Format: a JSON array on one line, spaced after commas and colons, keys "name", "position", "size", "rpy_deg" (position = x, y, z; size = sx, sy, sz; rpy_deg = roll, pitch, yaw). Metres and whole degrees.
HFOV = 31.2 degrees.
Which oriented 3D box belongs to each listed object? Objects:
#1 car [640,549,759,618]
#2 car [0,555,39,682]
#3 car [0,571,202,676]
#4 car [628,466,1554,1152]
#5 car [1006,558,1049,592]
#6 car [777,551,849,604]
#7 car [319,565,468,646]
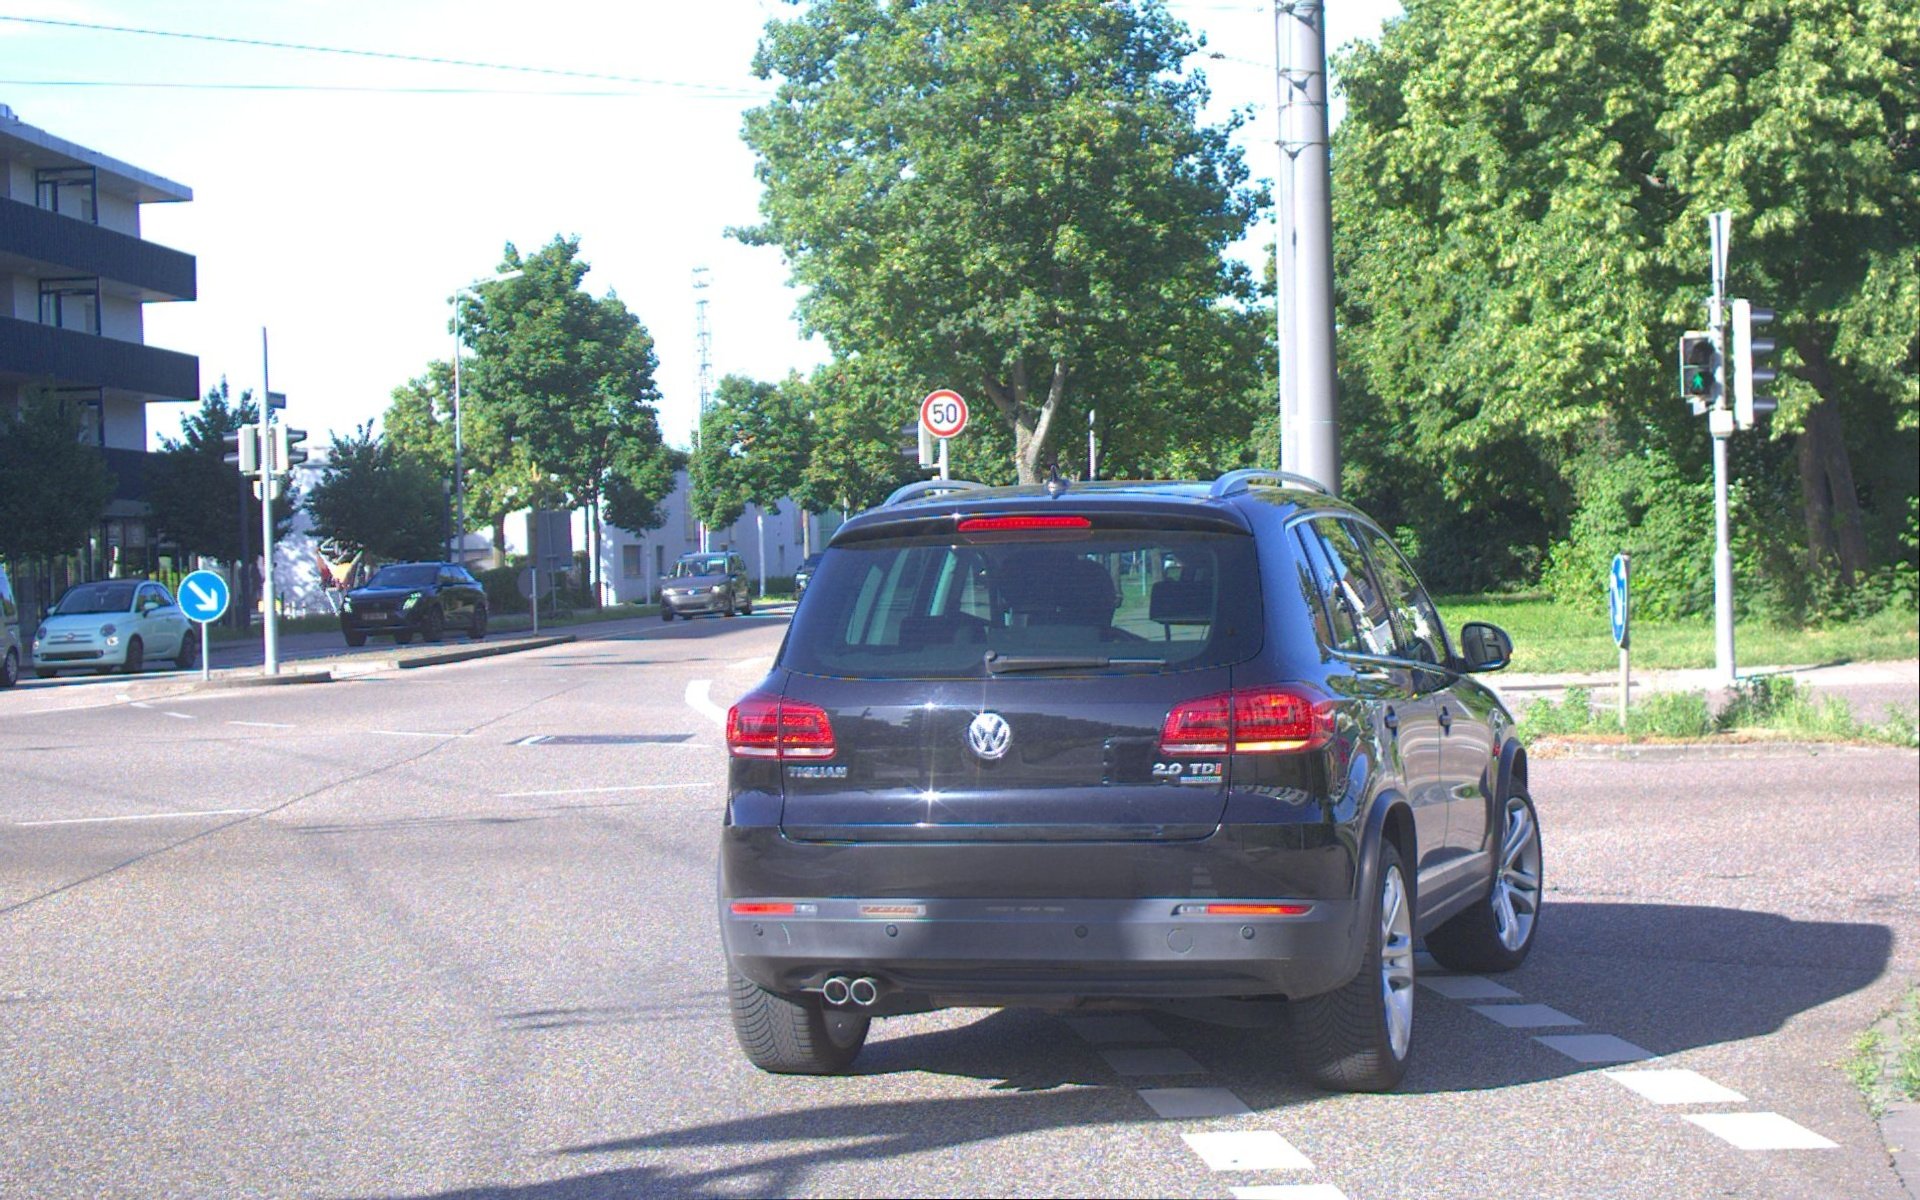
[{"name": "car", "position": [-6.393, -0.421, 84.743], "size": [1.994, 1.566, 3.999], "rpy_deg": [-2, 1, 9]}, {"name": "car", "position": [-14.319, 0.292, 47.223], "size": [1.993, 1.749, 4.362], "rpy_deg": [-2, 1, 2]}, {"name": "car", "position": [-13.814, 0.352, 55.247], "size": [1.994, 1.482, 3.543], "rpy_deg": [-4, 1, 8]}, {"name": "car", "position": [0.668, 0.456, 10.680], "size": [1.930, 1.649, 4.511], "rpy_deg": [0, 1, 15]}, {"name": "car", "position": [3.553, -1.308, 180.485], "size": [1.895, 1.752, 3.999], "rpy_deg": [0, 1, 7]}, {"name": "car", "position": [-5.130, -0.806, 120.611], "size": [1.994, 1.731, 5.199], "rpy_deg": [-2, 1, 3]}, {"name": "car", "position": [-11.521, 0.085, 70.212], "size": [1.967, 1.529, 4.740], "rpy_deg": [-2, 1, 3]}]
